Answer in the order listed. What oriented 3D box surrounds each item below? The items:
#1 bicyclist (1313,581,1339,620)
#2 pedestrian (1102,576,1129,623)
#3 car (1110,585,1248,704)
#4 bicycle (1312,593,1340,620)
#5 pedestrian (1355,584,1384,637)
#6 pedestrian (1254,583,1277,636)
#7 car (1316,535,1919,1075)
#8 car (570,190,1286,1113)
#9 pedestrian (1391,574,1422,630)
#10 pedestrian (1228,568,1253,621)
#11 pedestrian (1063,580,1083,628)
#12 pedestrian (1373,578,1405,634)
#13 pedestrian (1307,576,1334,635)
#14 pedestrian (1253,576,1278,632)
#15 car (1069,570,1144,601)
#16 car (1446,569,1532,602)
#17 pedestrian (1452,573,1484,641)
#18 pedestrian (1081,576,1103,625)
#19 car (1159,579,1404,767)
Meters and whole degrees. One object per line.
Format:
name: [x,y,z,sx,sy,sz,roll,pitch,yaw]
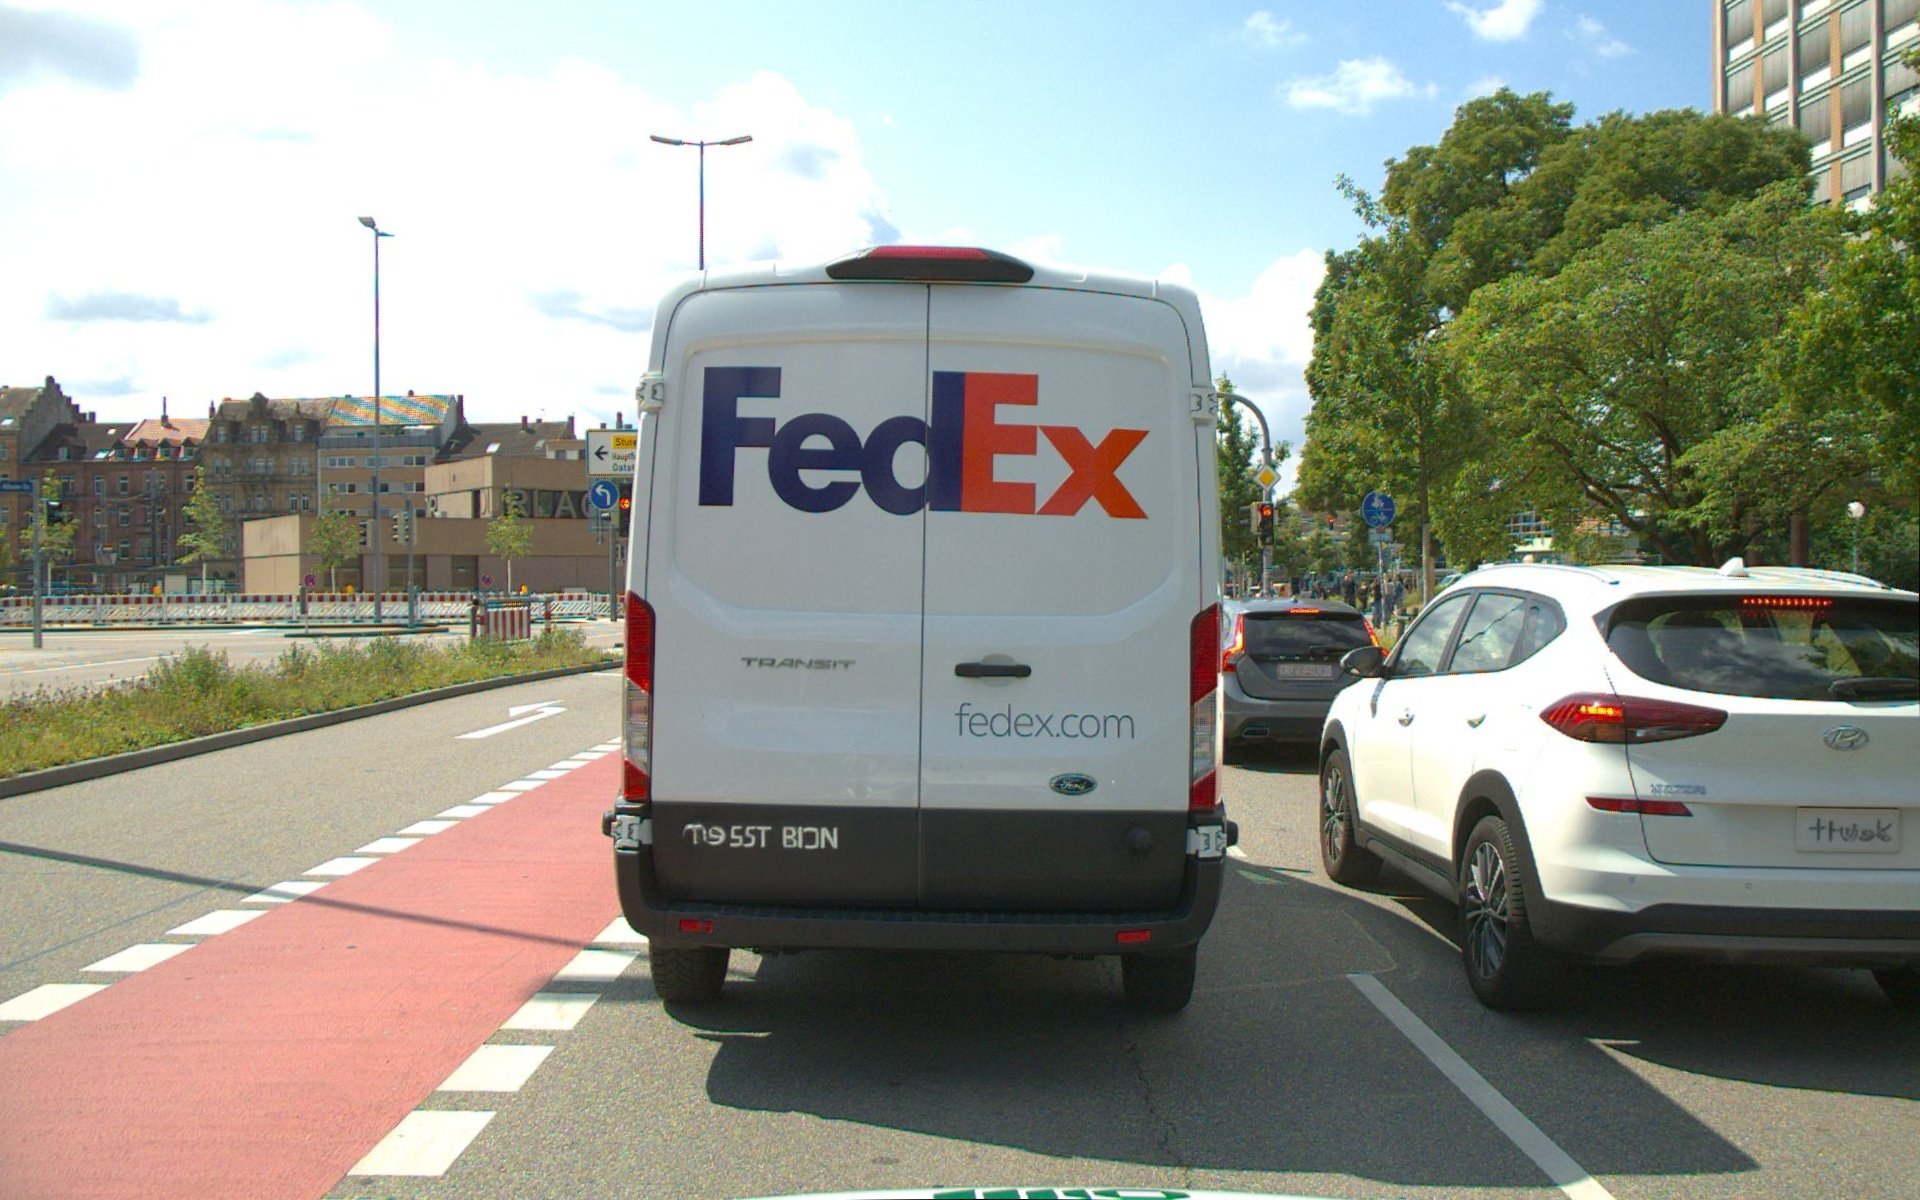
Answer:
bicyclist: [20.908,0.019,94.366,1.402,2.209,1.340,0,0,14]
pedestrian: [6.298,-0.021,67.029,0.753,1.882,0.806,-1,1,-36]
car: [2.931,0.551,22.643,1.468,1.489,3.474,0,1,1]
bicycle: [20.854,0.356,94.114,1.395,1.489,4.314,0,1,14]
pedestrian: [13.067,0.326,52.738,0.743,1.684,0.816,0,0,3]
pedestrian: [10.930,0.346,59.203,0.742,1.882,0.817,0,0,14]
car: [2.853,0.626,7.237,1.777,1.708,3.974,0,1,1]
car: [-0.062,0.124,6.938,2.030,2.626,4.428,0,1,1]
pedestrian: [15.191,0.047,56.239,0.745,1.882,0.814,0,0,-9]
pedestrian: [10.197,-0.201,60.062,0.796,1.882,0.761,0,0,2]
pedestrian: [4.457,0.158,65.215,0.743,1.882,0.816,0,0,1]
pedestrian: [14.453,0.197,55.754,0.745,1.882,0.814,-1,0,-11]
pedestrian: [11.549,0.167,52.953,0.743,1.882,0.816,0,0,18]
pedestrian: [10.491,0.128,56.840,0.743,1.882,0.816,0,0,18]
car: [13.665,-1.360,154.523,6.912,2.765,2.497,1,0,5]
car: [46.889,-1.249,146.592,6.940,2.765,2.488,1,0,-13]
pedestrian: [14.279,0.191,46.479,0.742,1.882,0.817,0,0,10]
pedestrian: [5.126,0.027,64.108,0.744,1.882,0.816,0,0,-3]
car: [2.941,0.594,15.837,1.656,1.576,3.721,0,1,1]
